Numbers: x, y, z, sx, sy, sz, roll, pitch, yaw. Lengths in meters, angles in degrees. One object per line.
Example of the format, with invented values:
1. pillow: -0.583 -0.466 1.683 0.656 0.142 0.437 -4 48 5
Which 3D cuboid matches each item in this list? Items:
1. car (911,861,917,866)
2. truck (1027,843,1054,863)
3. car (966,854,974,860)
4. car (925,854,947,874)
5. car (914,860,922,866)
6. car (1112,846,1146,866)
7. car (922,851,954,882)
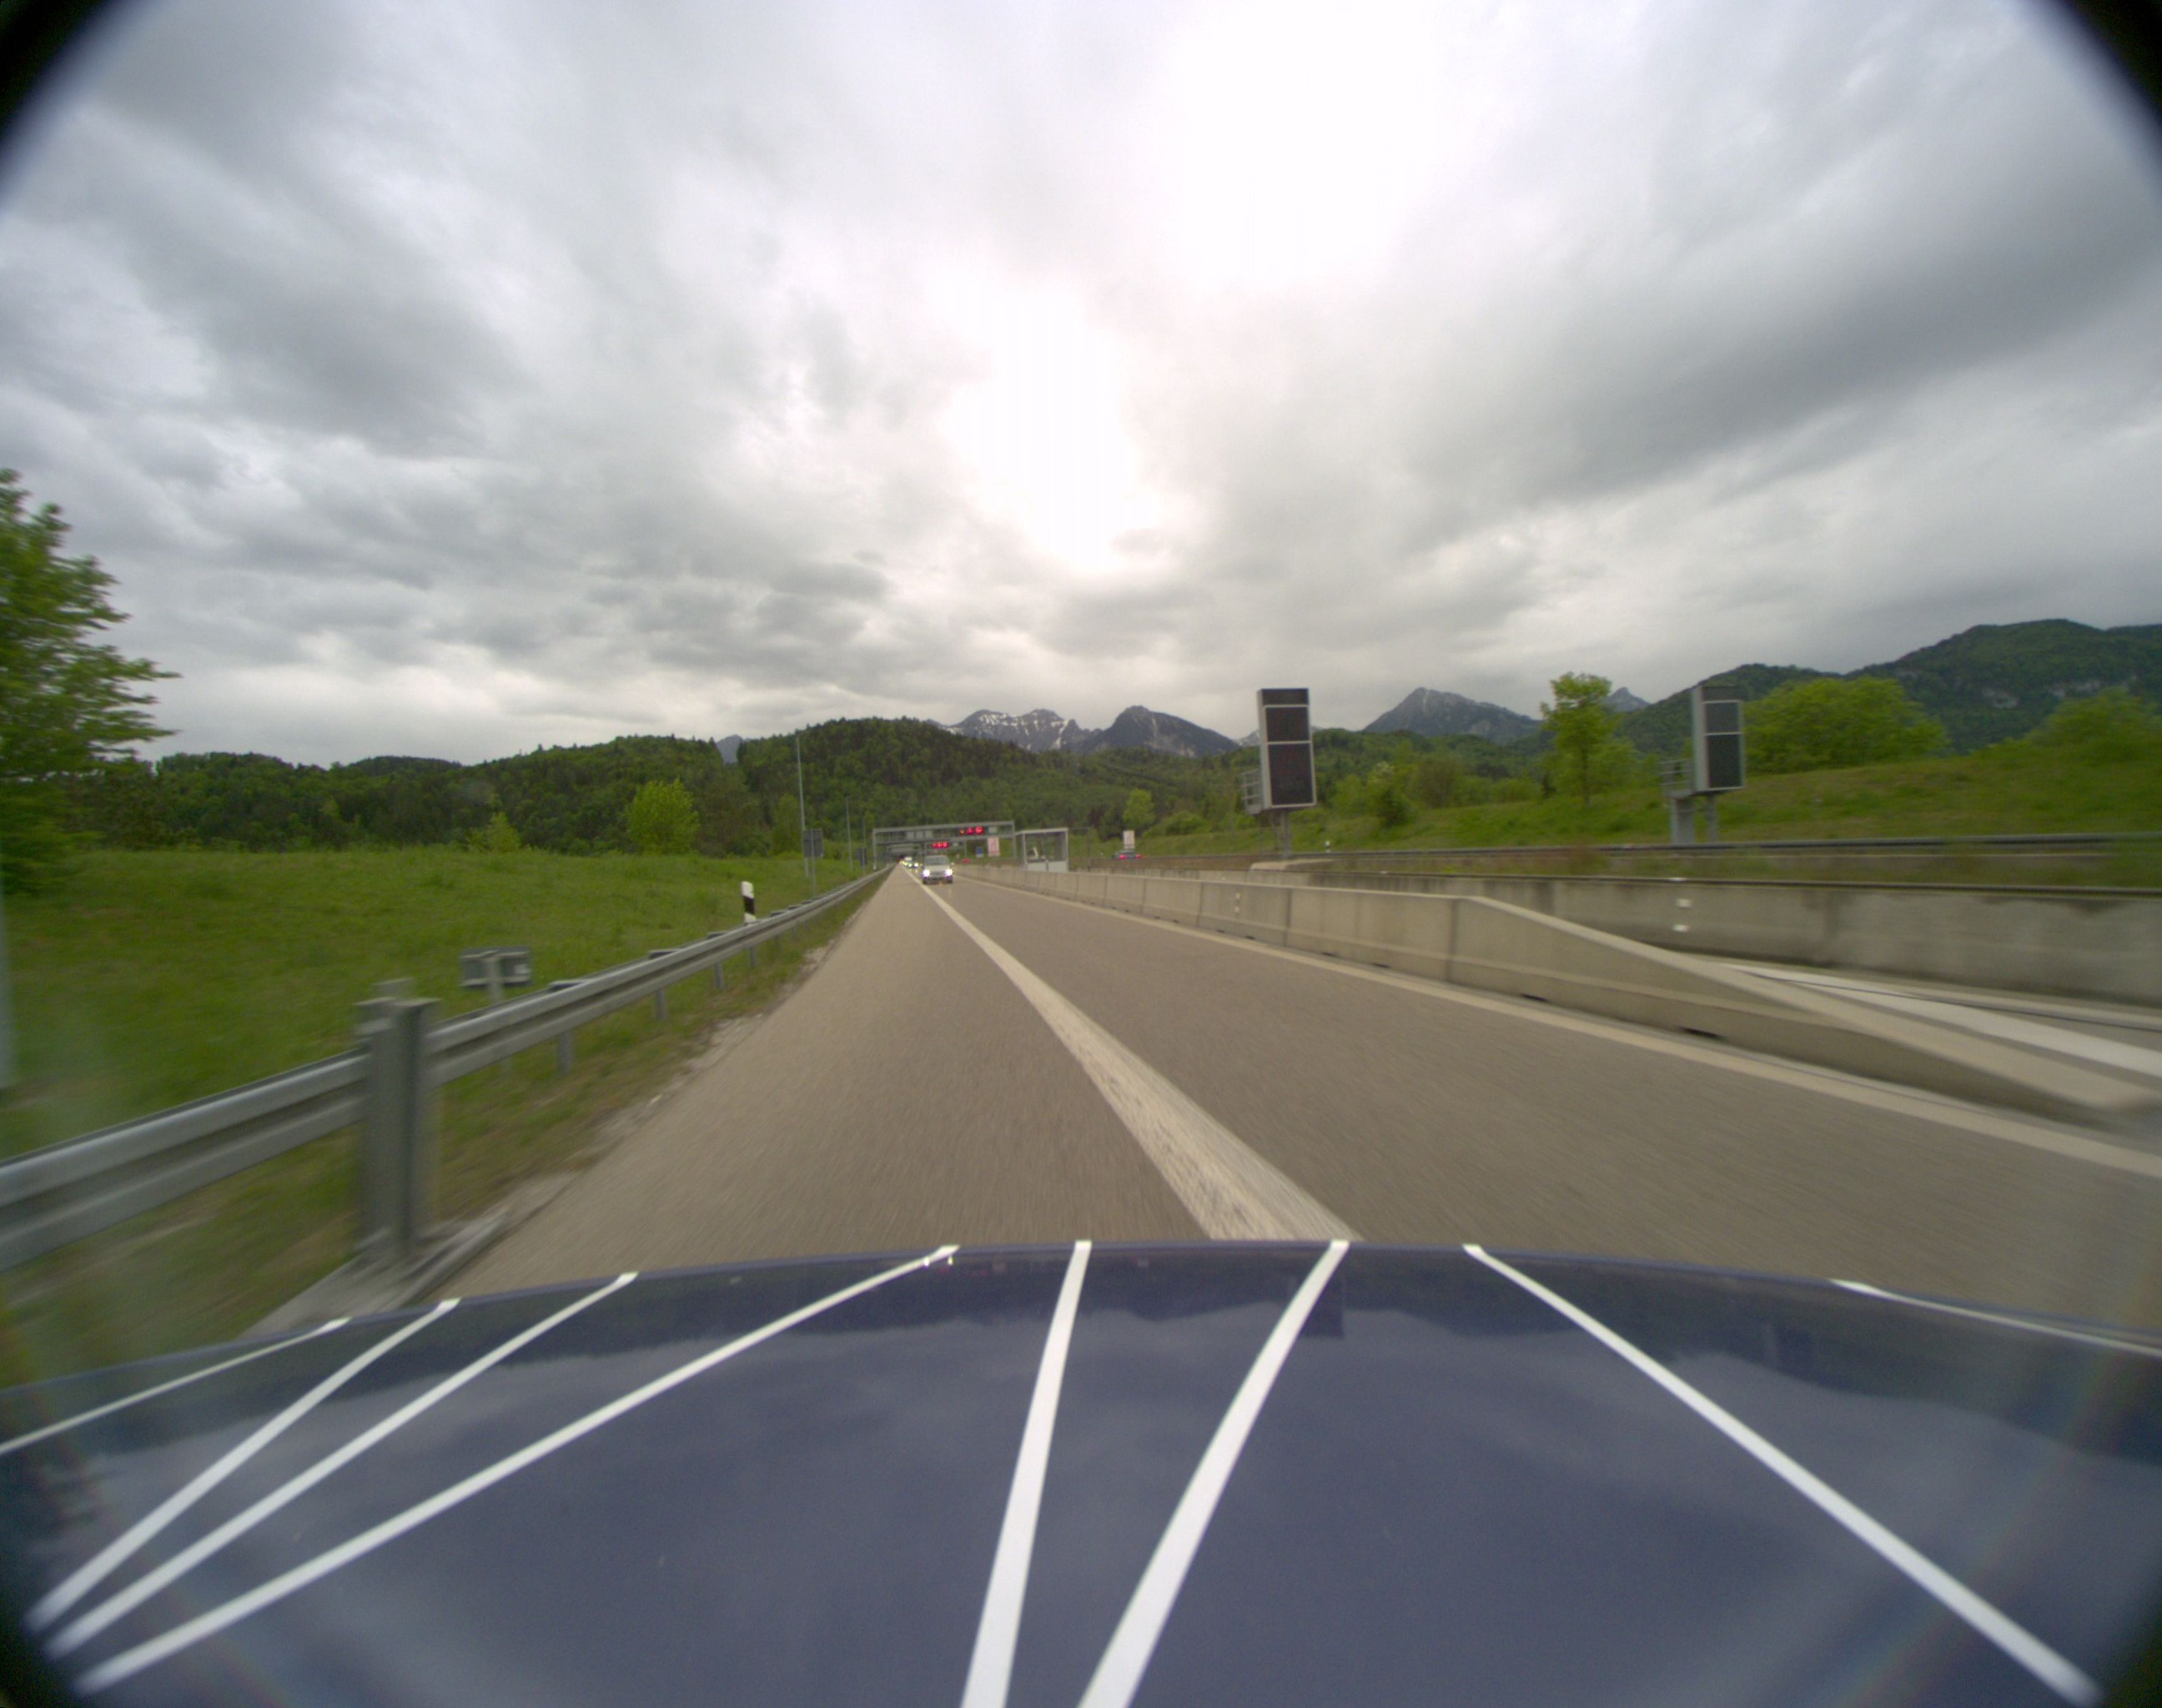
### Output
1. car: -55.150 3.054 250.472 1.632 1.688 3.493 -2 0 -9
2. truck: -5.507 -0.083 102.606 2.365 2.465 5.981 -3 1 -14
3. car: -29.819 0.840 204.894 1.708 1.566 4.172 -3 1 -13
4. car: -13.802 0.980 72.119 1.758 1.794 3.995 -2 0 -14
5. car: -37.717 2.138 175.844 1.665 1.329 3.788 -2 0 -13
6. car: 3.875 0.179 61.833 1.613 1.492 3.833 -3 1 -14
7. car: -9.600 0.803 51.036 1.924 1.871 5.133 -2 1 -11
